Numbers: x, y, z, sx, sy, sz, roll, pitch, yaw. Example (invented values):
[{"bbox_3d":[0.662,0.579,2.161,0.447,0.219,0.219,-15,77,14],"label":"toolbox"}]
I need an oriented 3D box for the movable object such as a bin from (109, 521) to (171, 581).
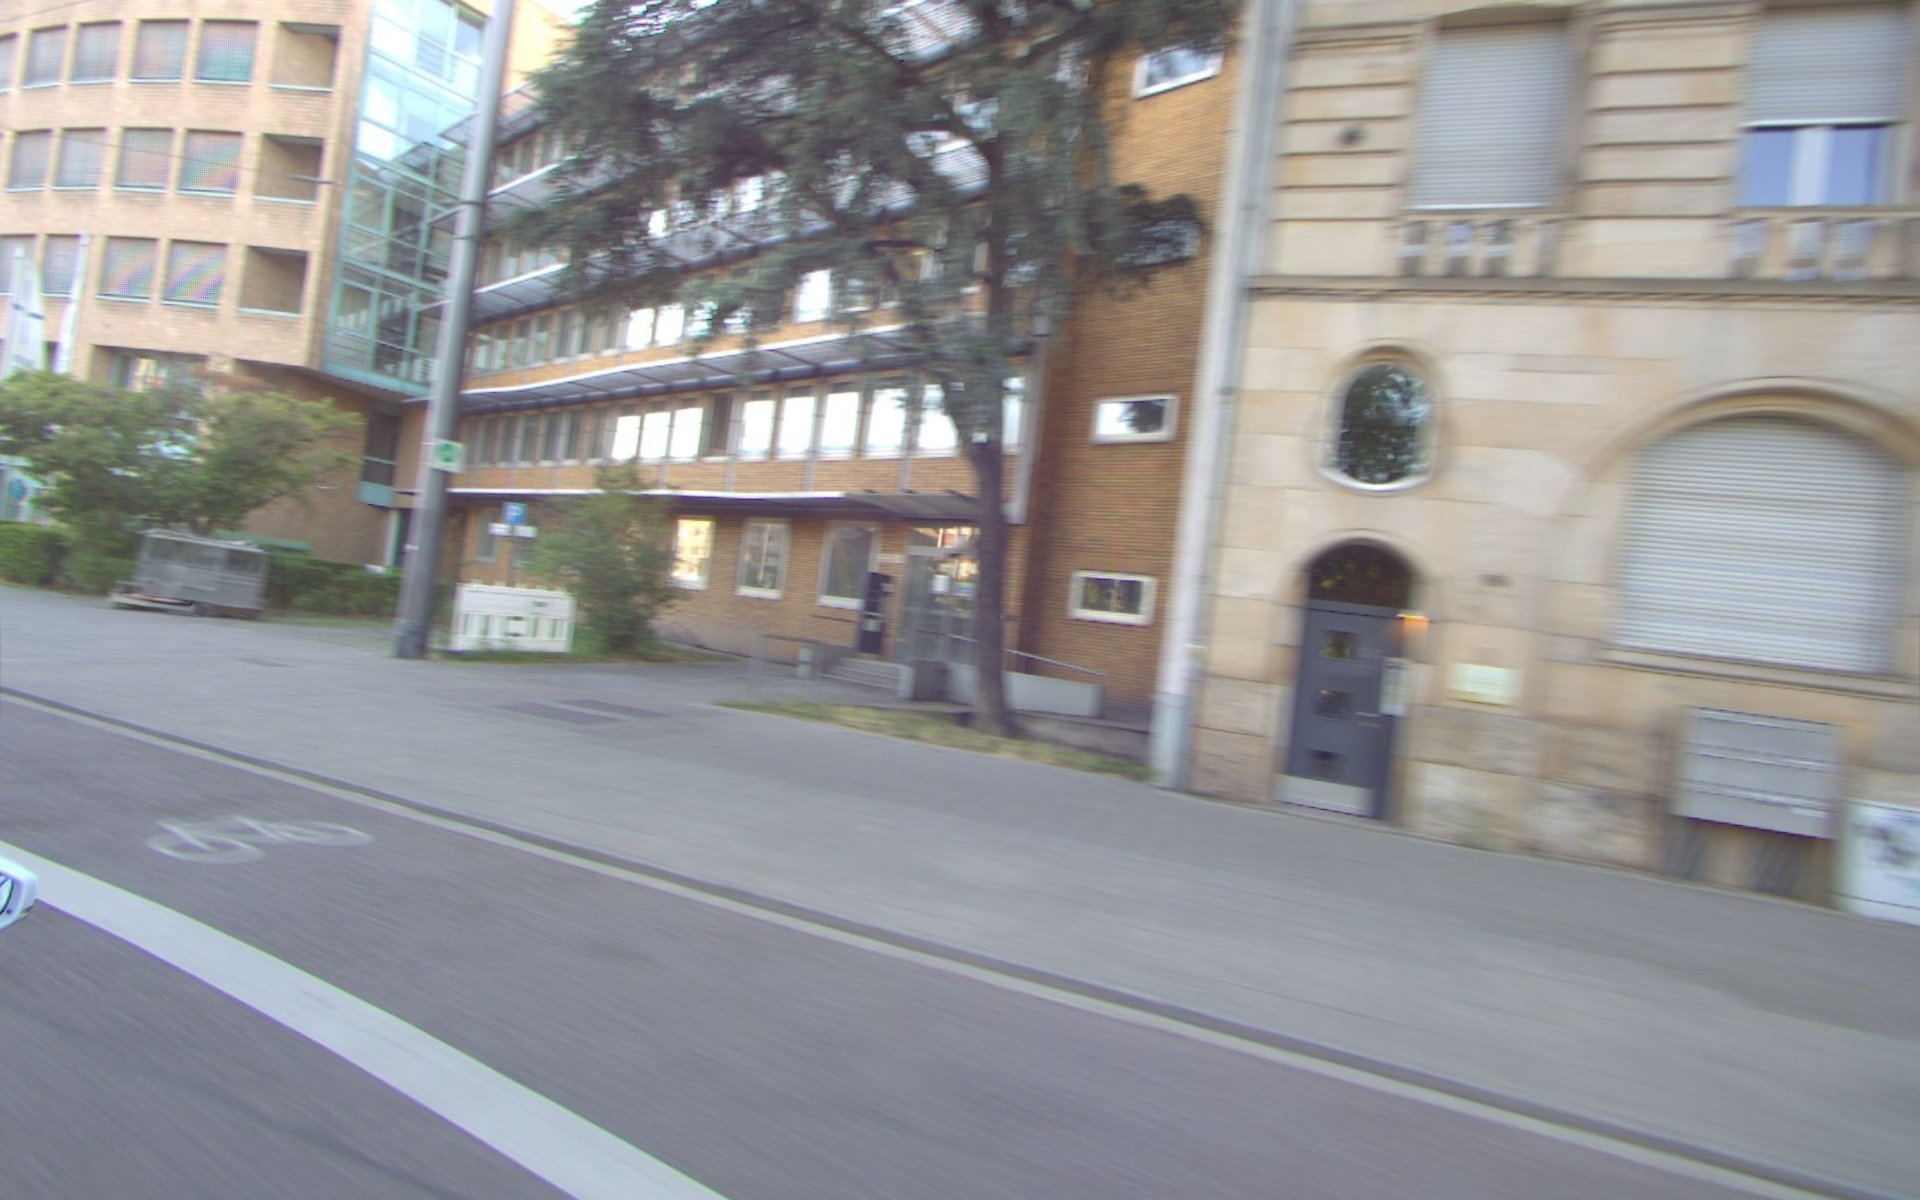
[{"bbox_3d":[-22.380,-1.330,27.494,0.964,1.455,1.334,8,0,-30],"label":"movable object such as a bin"}]

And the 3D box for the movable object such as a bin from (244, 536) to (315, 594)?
[{"bbox_3d":[-19.909,-1.016,29.439,0.909,1.441,1.342,8,-1,33],"label":"movable object such as a bin"}]
